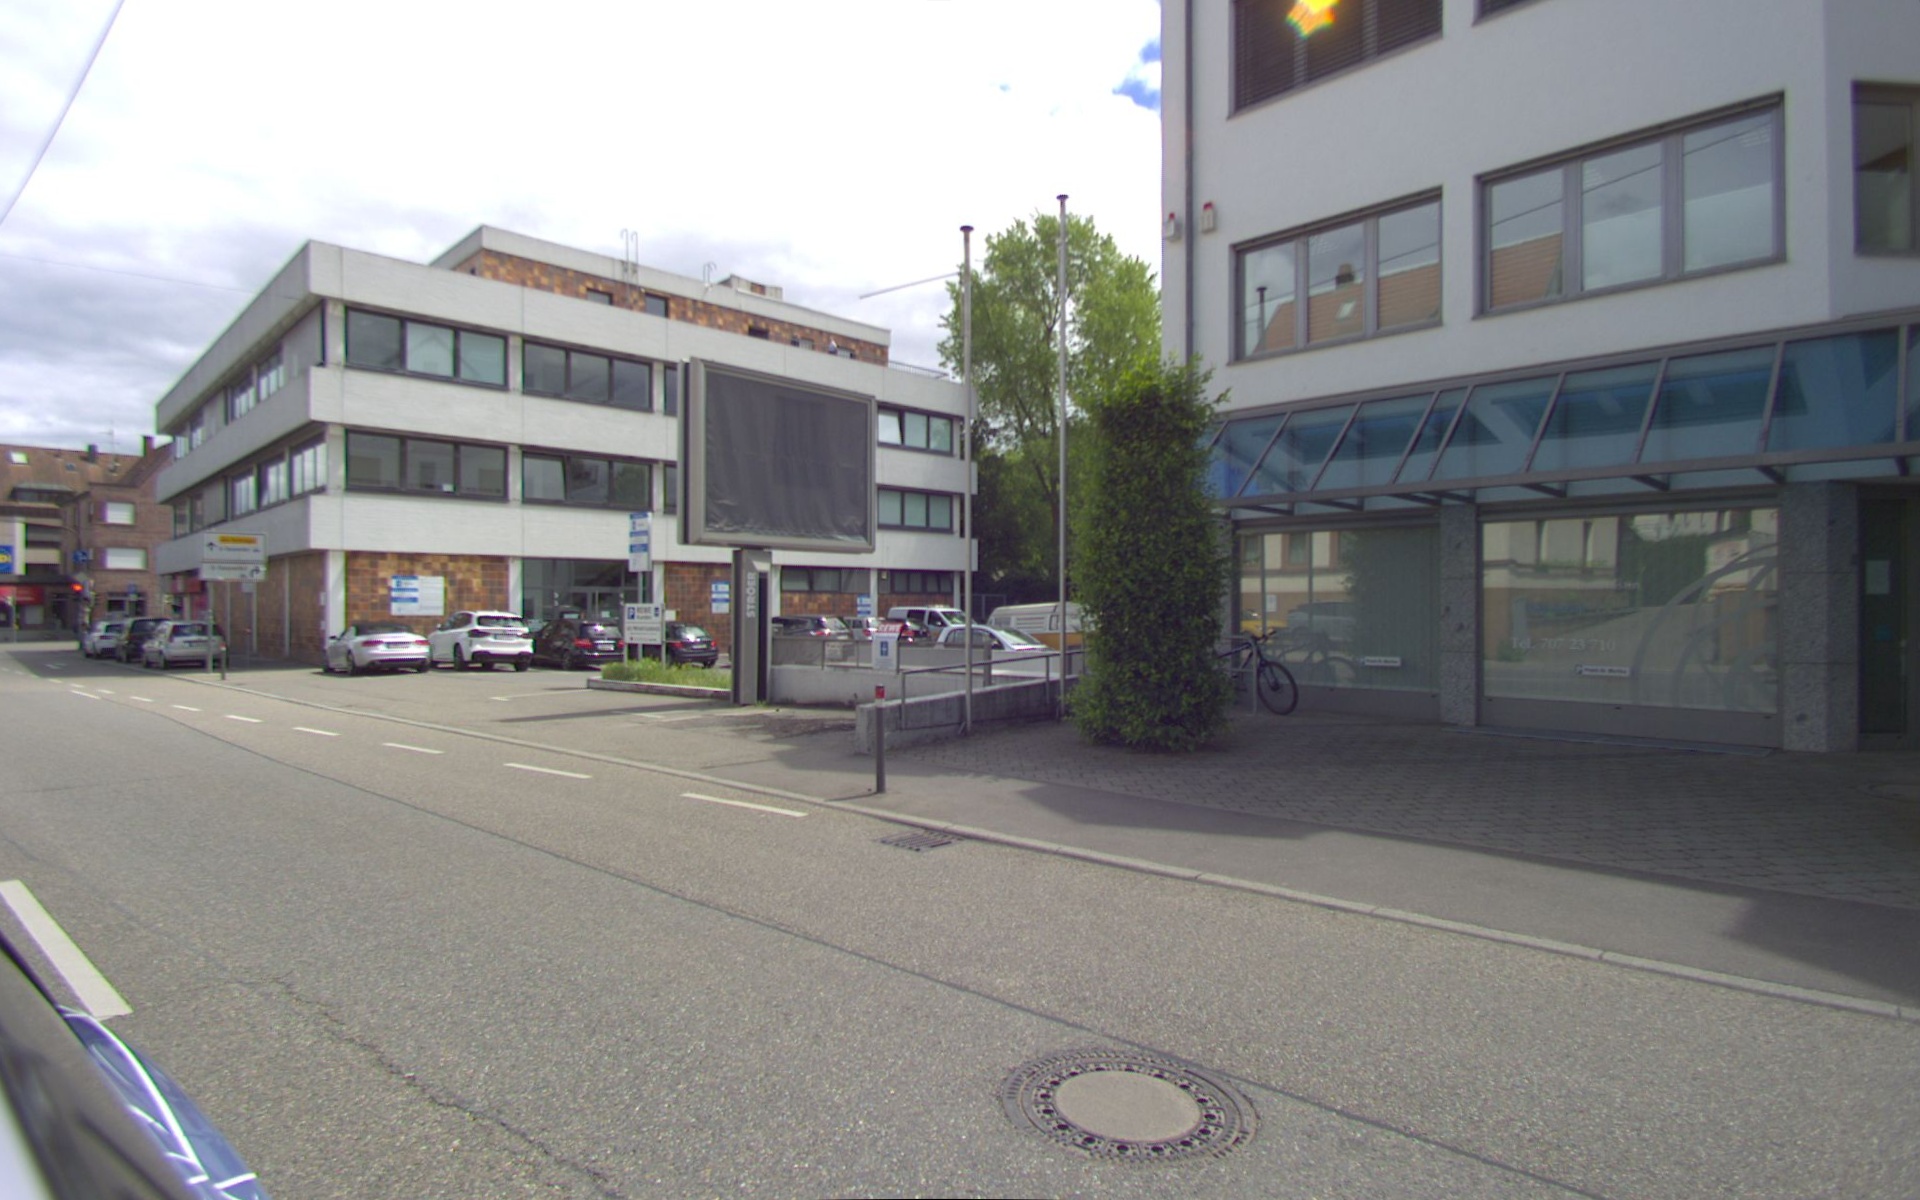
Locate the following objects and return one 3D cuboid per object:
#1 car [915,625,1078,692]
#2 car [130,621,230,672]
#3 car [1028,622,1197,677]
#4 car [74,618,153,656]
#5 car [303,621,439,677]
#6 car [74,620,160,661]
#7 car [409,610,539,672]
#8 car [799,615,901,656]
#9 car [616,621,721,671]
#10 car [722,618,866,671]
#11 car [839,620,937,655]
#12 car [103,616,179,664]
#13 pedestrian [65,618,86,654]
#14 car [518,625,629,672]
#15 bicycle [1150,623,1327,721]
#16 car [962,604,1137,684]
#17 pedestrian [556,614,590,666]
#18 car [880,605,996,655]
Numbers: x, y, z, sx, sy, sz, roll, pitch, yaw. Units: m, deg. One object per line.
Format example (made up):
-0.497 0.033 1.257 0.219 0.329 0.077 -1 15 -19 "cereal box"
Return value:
0.871 1.410 25.357 3.752 1.541 1.794 -1 -1 38 "car"
-24.156 1.389 31.289 4.146 1.433 1.704 -1 0 41 "car"
4.308 1.379 29.190 1.791 1.449 4.685 1 -2 -45 "car"
-36.599 1.577 43.733 4.284 1.486 2.023 -1 0 42 "car"
-15.877 1.252 27.171 4.857 1.368 1.929 -1 -2 44 "car"
-32.998 1.560 39.568 4.953 1.455 2.022 -1 0 44 "car"
-13.979 1.187 28.964 1.928 1.632 4.934 4 -4 -43 "car"
-4.286 1.348 39.064 1.825 1.472 4.003 1 -2 -44 "car"
-9.619 1.483 33.294 3.604 1.558 1.744 -1 -2 43 "car"
-5.366 1.388 32.450 4.484 1.590 1.906 -2 -2 34 "car"
-2.930 1.483 40.670 1.825 1.304 4.003 1 -2 -44 "car"
-28.820 1.388 35.589 3.057 1.567 1.717 -1 -1 44 "car"
-42.323 1.723 48.431 0.682 1.657 0.709 -2 0 45 "pedestrian"
-11.796 1.434 30.776 3.604 1.341 1.744 -1 -2 43 "car"
3.345 0.836 12.313 2.002 1.103 0.624 -2 -2 42 "bicycle"
2.355 1.152 27.608 4.649 2.004 1.817 -1 -2 44 "car"
-12.939 1.330 33.840 0.709 1.684 0.996 3 -3 -44 "pedestrian"
-0.977 1.234 42.409 1.945 1.956 5.092 1 -2 -44 "car"
